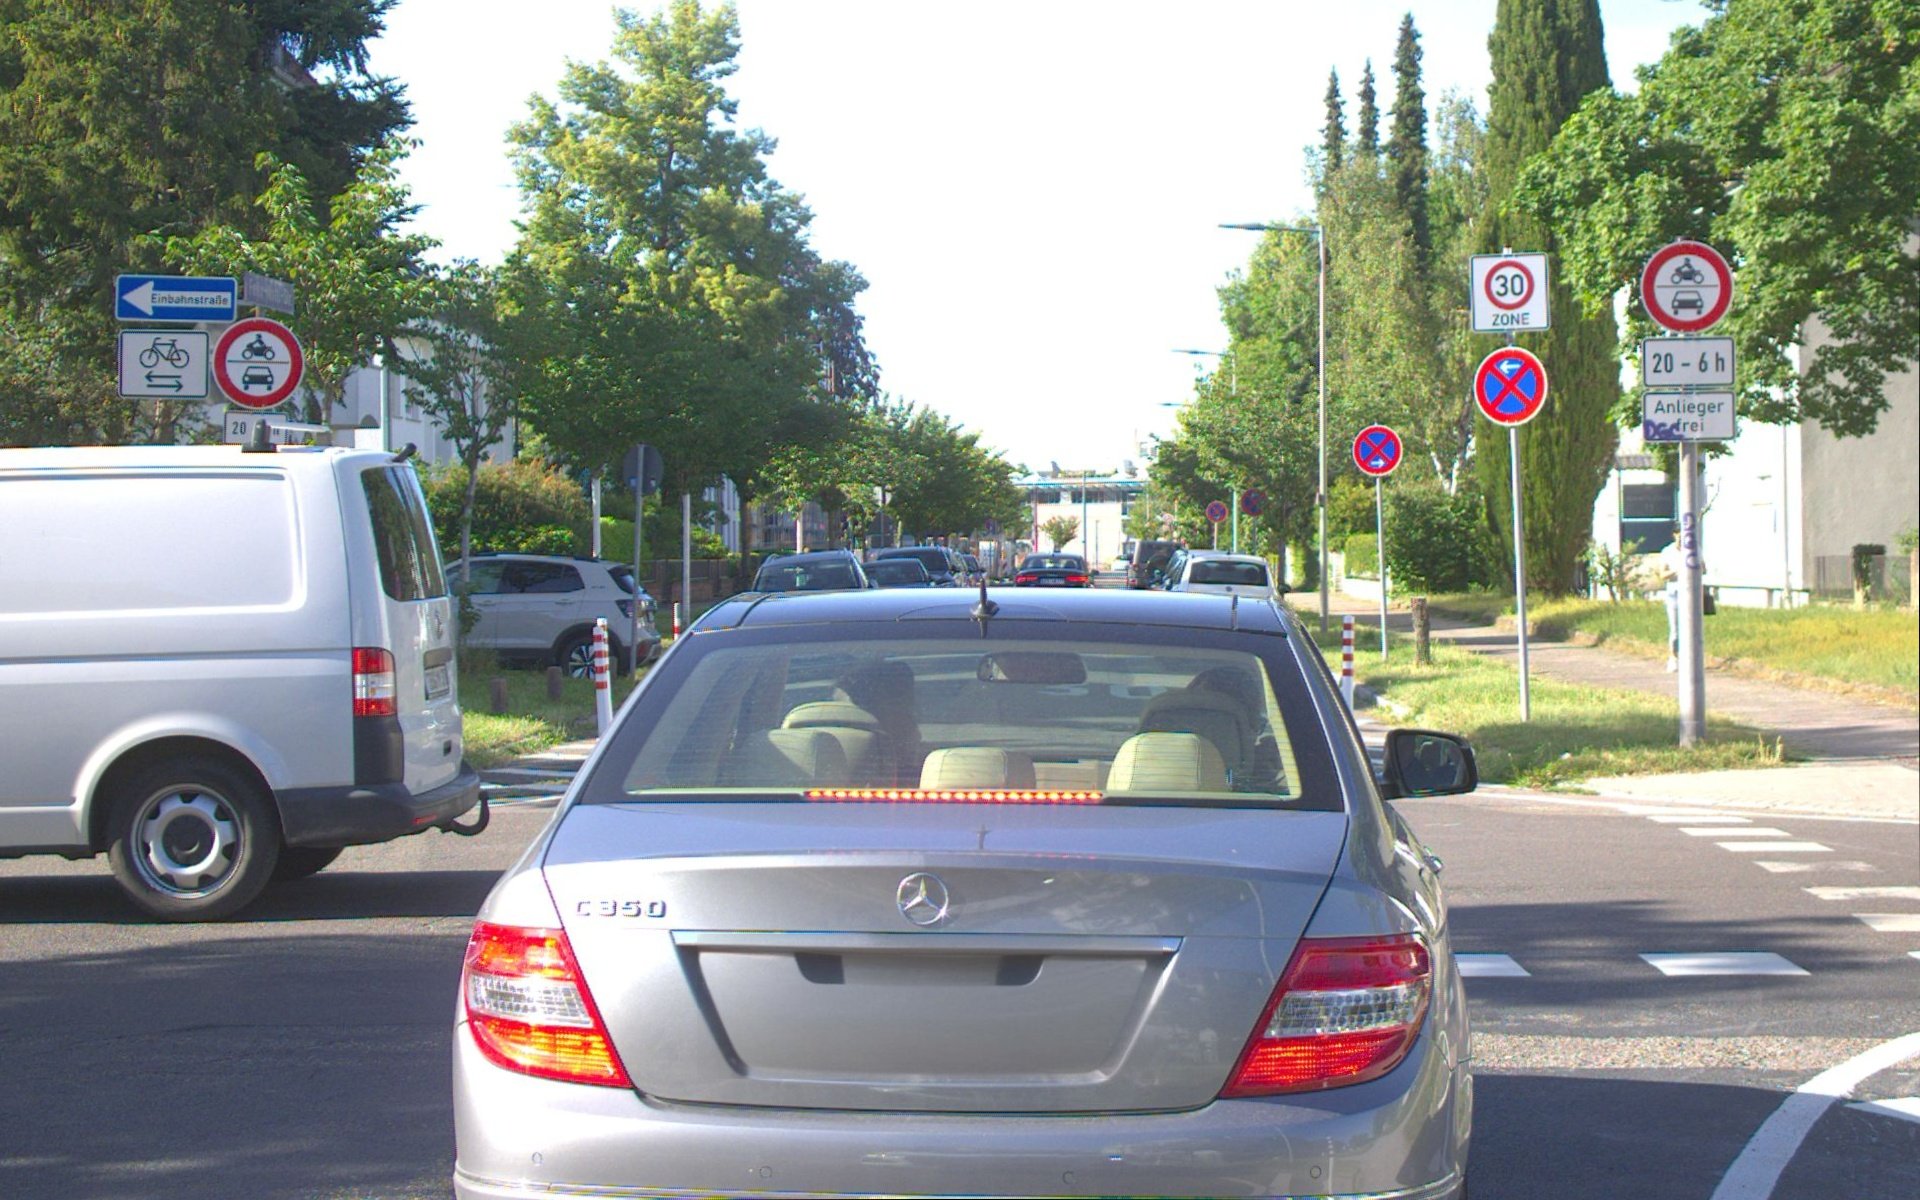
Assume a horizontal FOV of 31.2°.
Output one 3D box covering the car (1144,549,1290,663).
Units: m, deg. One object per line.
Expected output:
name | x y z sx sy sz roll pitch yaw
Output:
car | 3.516 0.049 47.536 1.733 1.474 3.725 -1 1 0

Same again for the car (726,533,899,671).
car | -1.905 -0.010 45.489 1.993 1.604 4.000 -4 1 0

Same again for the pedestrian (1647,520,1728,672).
pedestrian | 7.807 -0.046 36.918 0.766 1.605 0.834 -1 1 7

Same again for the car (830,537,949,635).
car | -1.263 -0.291 63.286 1.993 1.604 4.000 -4 1 0

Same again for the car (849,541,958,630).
car | -1.102 -0.312 69.078 1.993 1.604 4.000 -4 1 0

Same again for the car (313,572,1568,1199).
car | 0.075 0.678 7.022 1.836 1.436 4.000 0 1 3

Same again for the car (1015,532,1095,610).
car | 2.011 -0.634 73.676 1.597 1.604 3.644 -1 1 0

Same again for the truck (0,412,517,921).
truck | -4.527 0.273 14.933 4.858 2.029 2.000 -1 1 2

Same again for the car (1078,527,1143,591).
car | 4.494 -1.243 103.228 1.855 1.835 4.000 -1 1 2

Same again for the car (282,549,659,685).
car | -5.715 0.186 40.492 4.192 1.558 1.842 0 1 -1

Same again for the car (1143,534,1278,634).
car | 4.205 -0.300 58.282 1.993 1.604 4.000 -1 1 0
